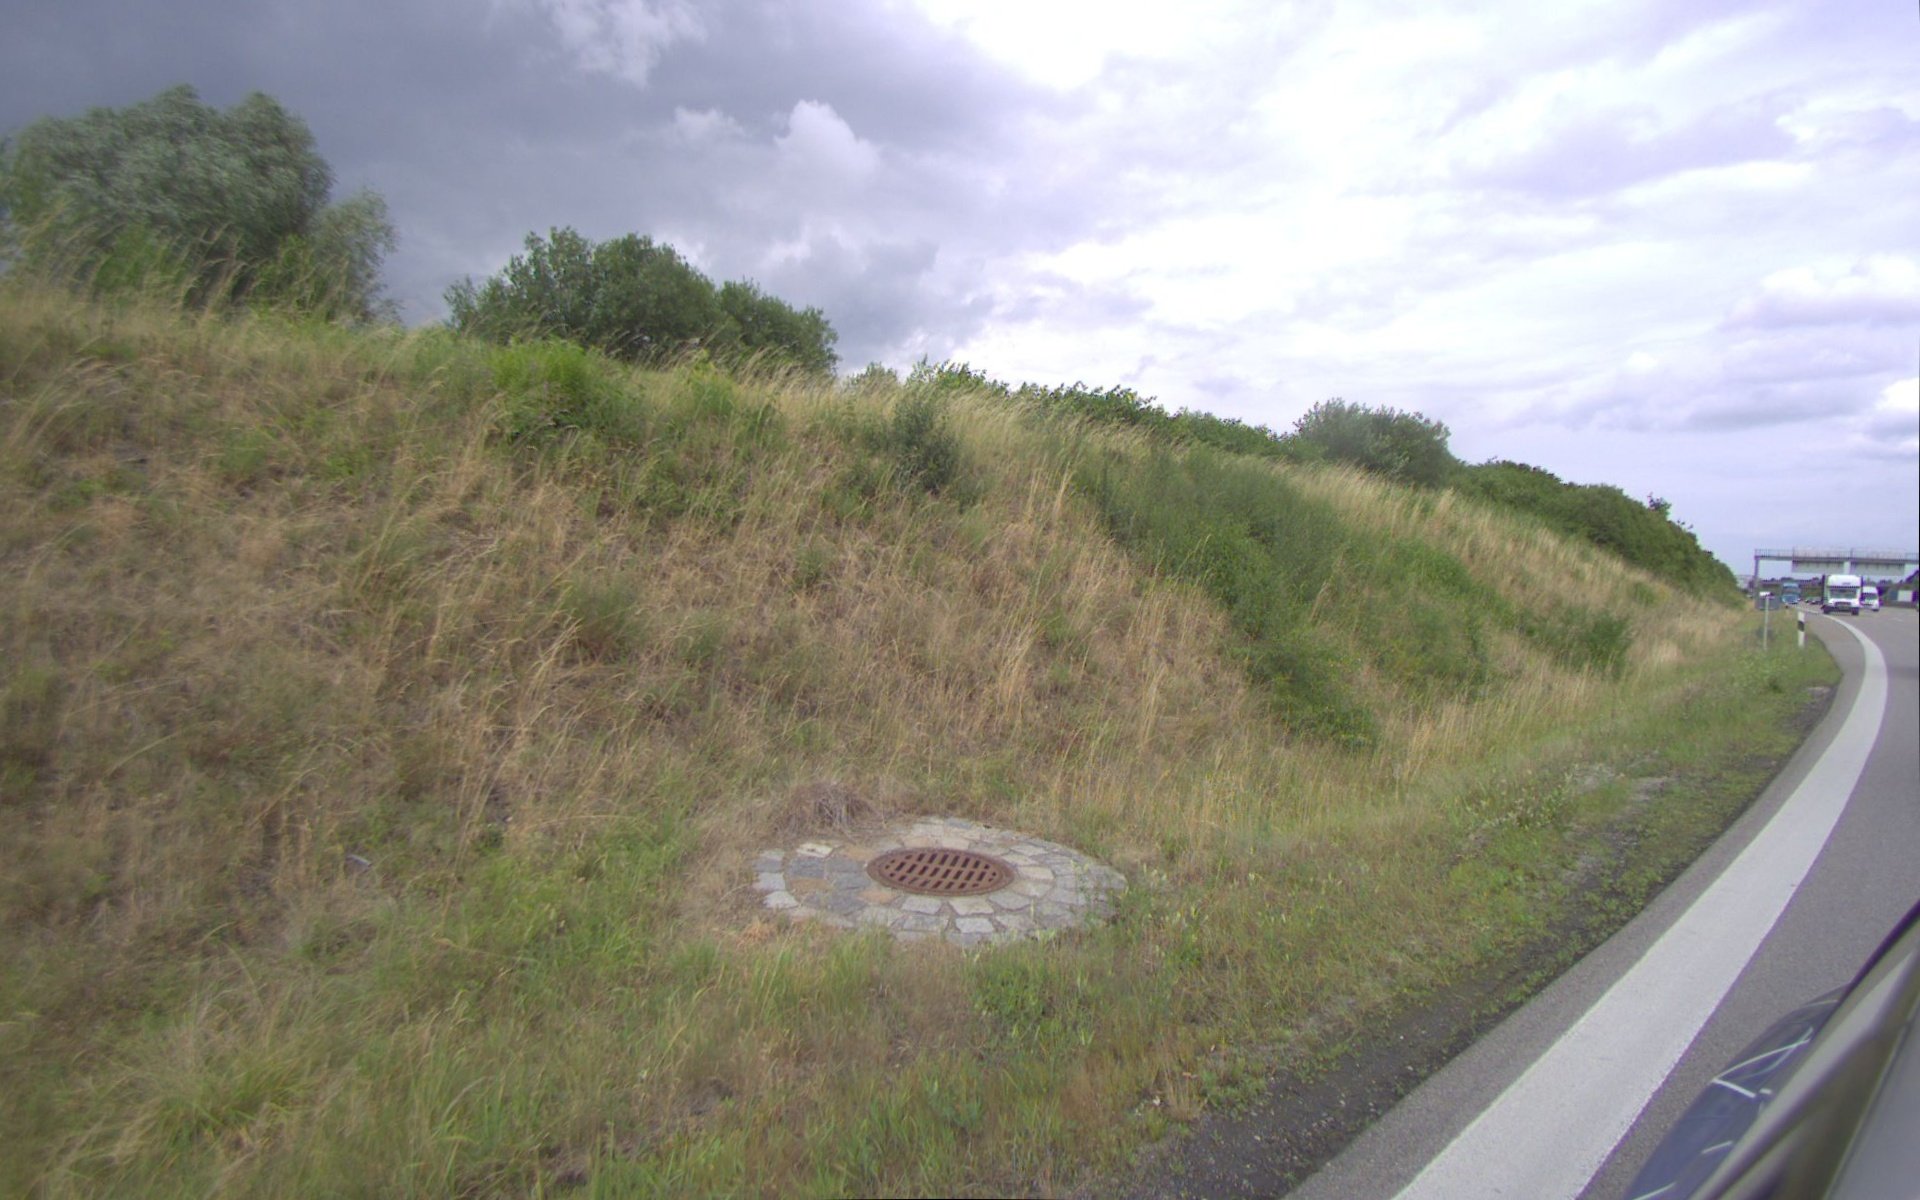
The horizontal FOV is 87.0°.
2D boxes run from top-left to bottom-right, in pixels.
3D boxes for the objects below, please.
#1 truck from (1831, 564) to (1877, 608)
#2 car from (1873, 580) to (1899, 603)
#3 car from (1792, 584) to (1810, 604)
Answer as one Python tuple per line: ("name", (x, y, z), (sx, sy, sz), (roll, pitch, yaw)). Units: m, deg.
("truck", (71.186, -1.113, 80.641), (2.439, 3.275, 7.088), (2, 2, 40))
("car", (100.478, -0.905, 109.837), (1.992, 2.425, 3.940), (0, 1, 42))
("car", (164.903, -1.178, 198.395), (2.494, 3.757, 7.593), (2, 2, 39))
